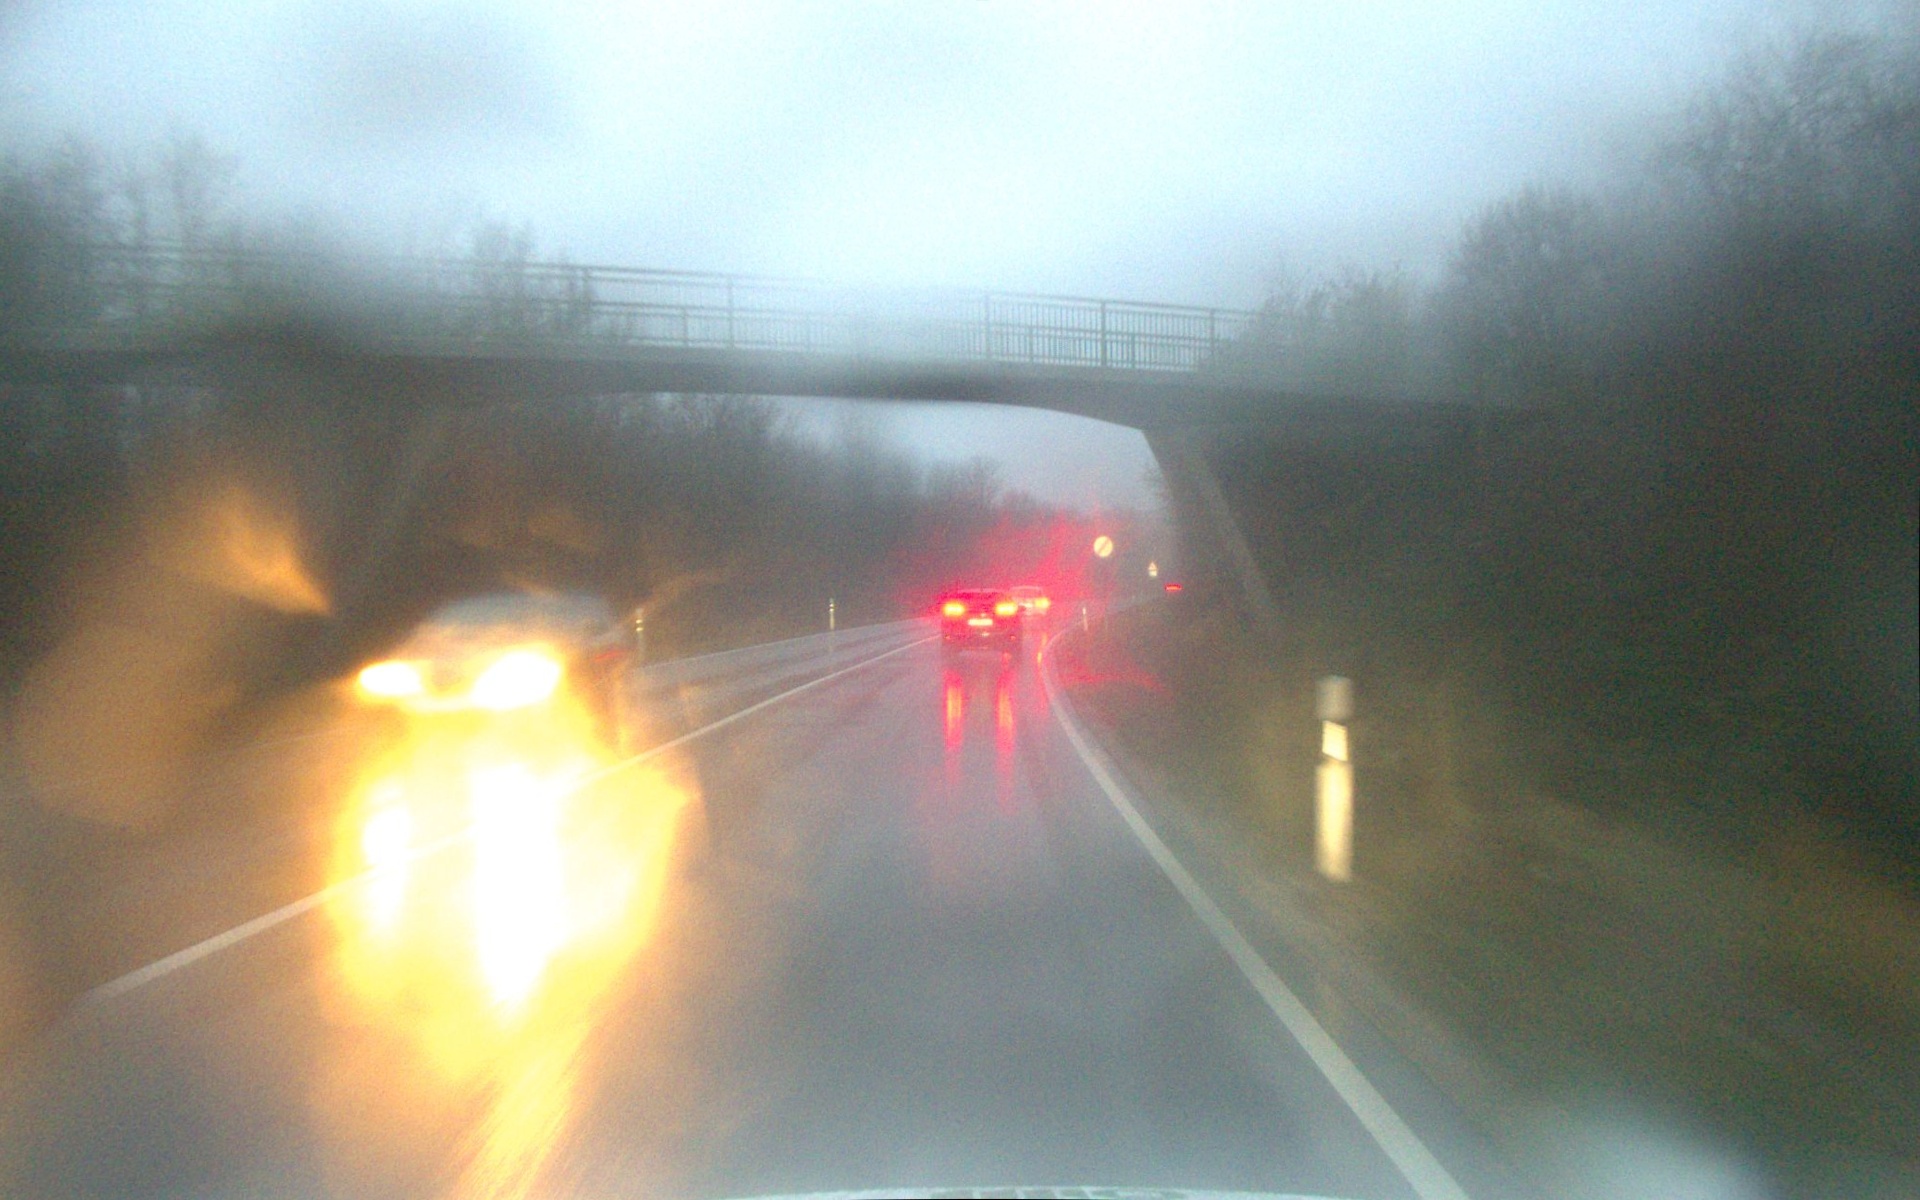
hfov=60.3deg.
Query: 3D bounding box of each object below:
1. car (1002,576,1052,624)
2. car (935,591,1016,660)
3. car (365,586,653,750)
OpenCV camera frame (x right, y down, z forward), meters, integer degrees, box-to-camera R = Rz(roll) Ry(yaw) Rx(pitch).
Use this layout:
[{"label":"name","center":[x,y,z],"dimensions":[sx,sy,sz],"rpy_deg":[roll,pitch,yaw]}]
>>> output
[{"label":"car","center":[2.547,-0.001,61.864],"dimensions":[1.643,1.704,4.101],"rpy_deg":[-1,0,5]},{"label":"car","center":[0.393,0.526,36.820],"dimensions":[1.643,1.414,4.099],"rpy_deg":[-1,0,3]},{"label":"car","center":[-4.492,0.609,17.177],"dimensions":[1.767,1.479,4.379],"rpy_deg":[0,0,0]}]
